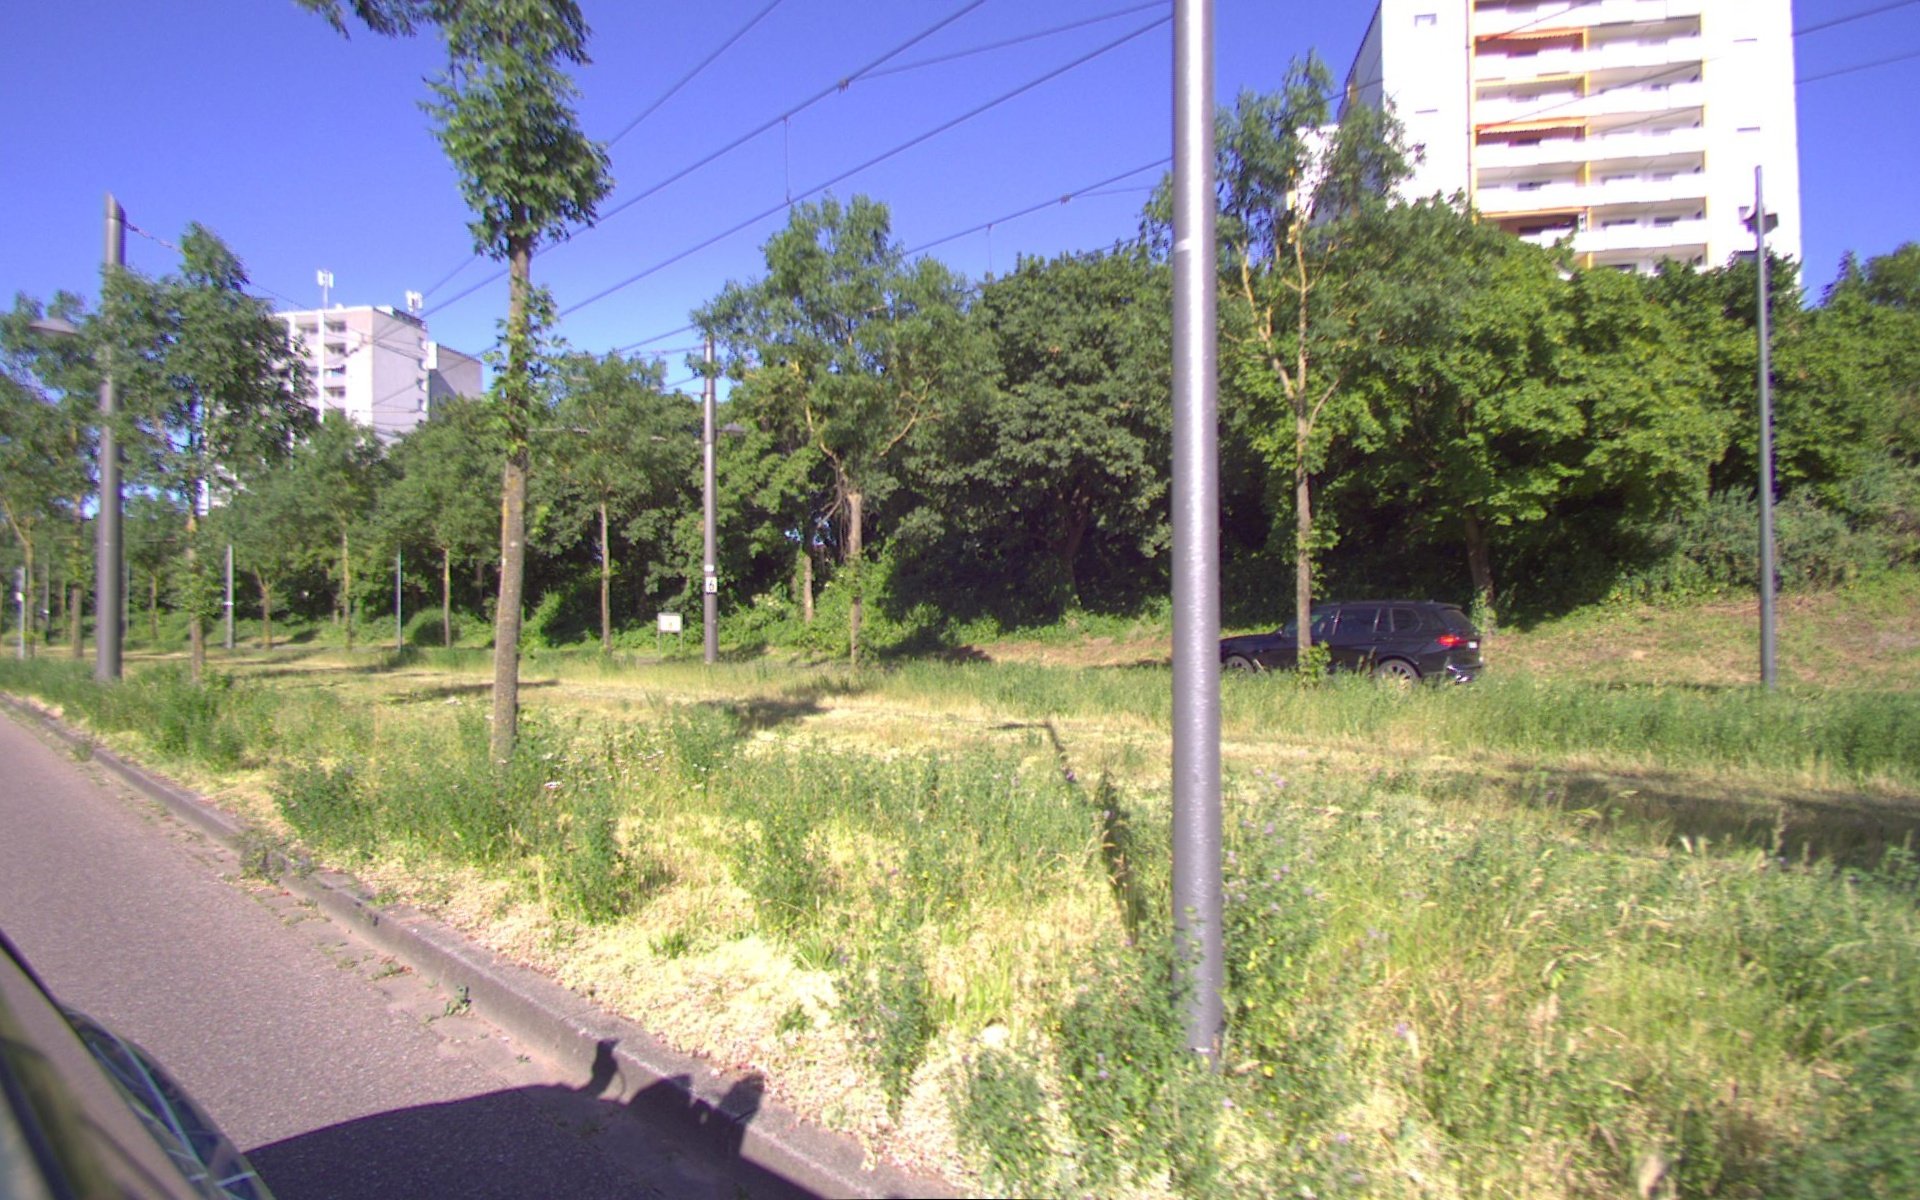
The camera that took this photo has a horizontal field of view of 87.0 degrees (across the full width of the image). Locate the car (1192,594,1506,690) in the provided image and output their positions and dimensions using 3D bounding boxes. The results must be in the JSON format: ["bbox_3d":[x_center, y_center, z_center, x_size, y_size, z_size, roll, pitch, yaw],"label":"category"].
[{"bbox_3d":[7.303,0.744,19.450,5.272,1.596,1.972,-2,-1,43],"label":"car"}]
